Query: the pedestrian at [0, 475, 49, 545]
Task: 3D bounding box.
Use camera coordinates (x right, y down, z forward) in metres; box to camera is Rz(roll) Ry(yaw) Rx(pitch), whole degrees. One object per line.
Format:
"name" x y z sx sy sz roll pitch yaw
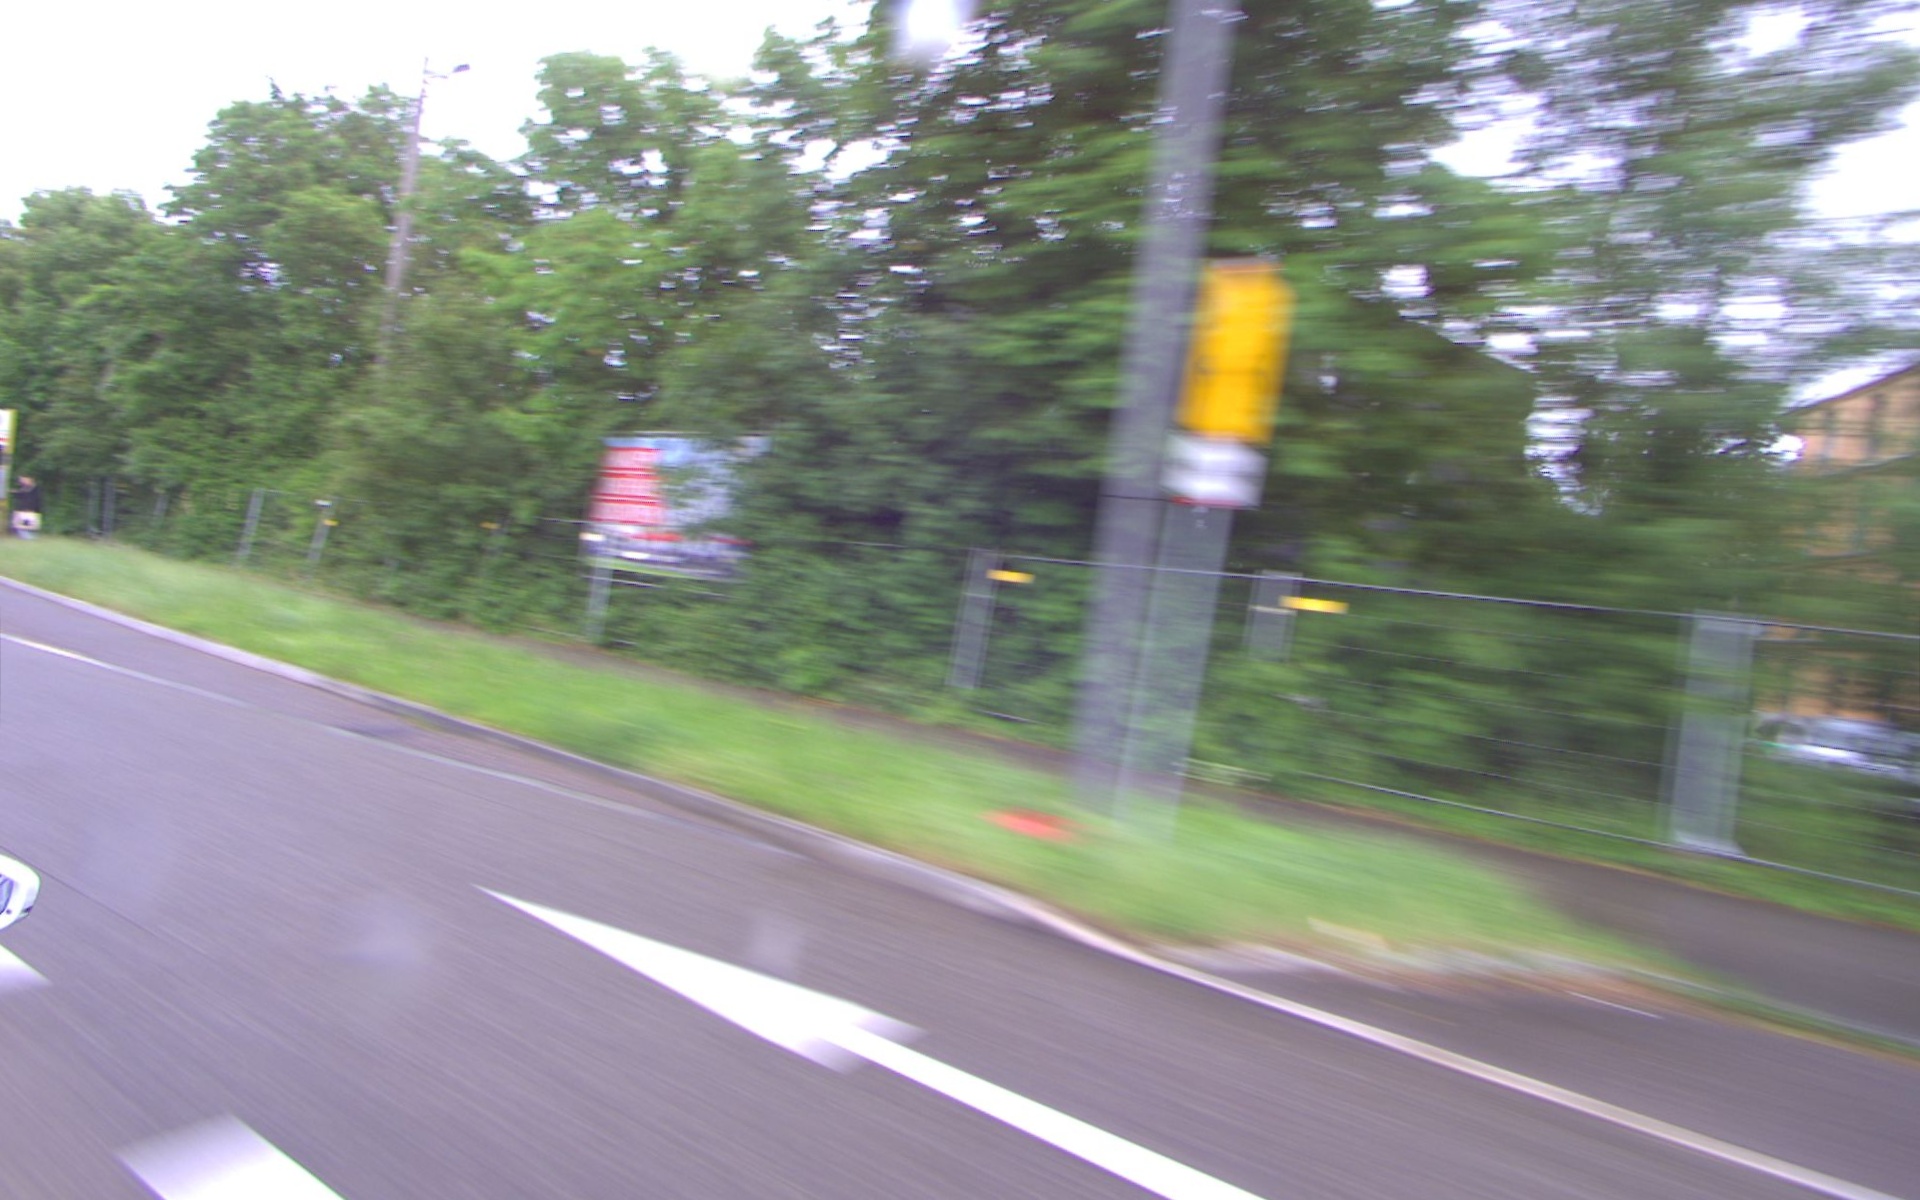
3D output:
"pedestrian" -24.116 -2.308 25.905 0.779 1.679 0.676 7 1 29
